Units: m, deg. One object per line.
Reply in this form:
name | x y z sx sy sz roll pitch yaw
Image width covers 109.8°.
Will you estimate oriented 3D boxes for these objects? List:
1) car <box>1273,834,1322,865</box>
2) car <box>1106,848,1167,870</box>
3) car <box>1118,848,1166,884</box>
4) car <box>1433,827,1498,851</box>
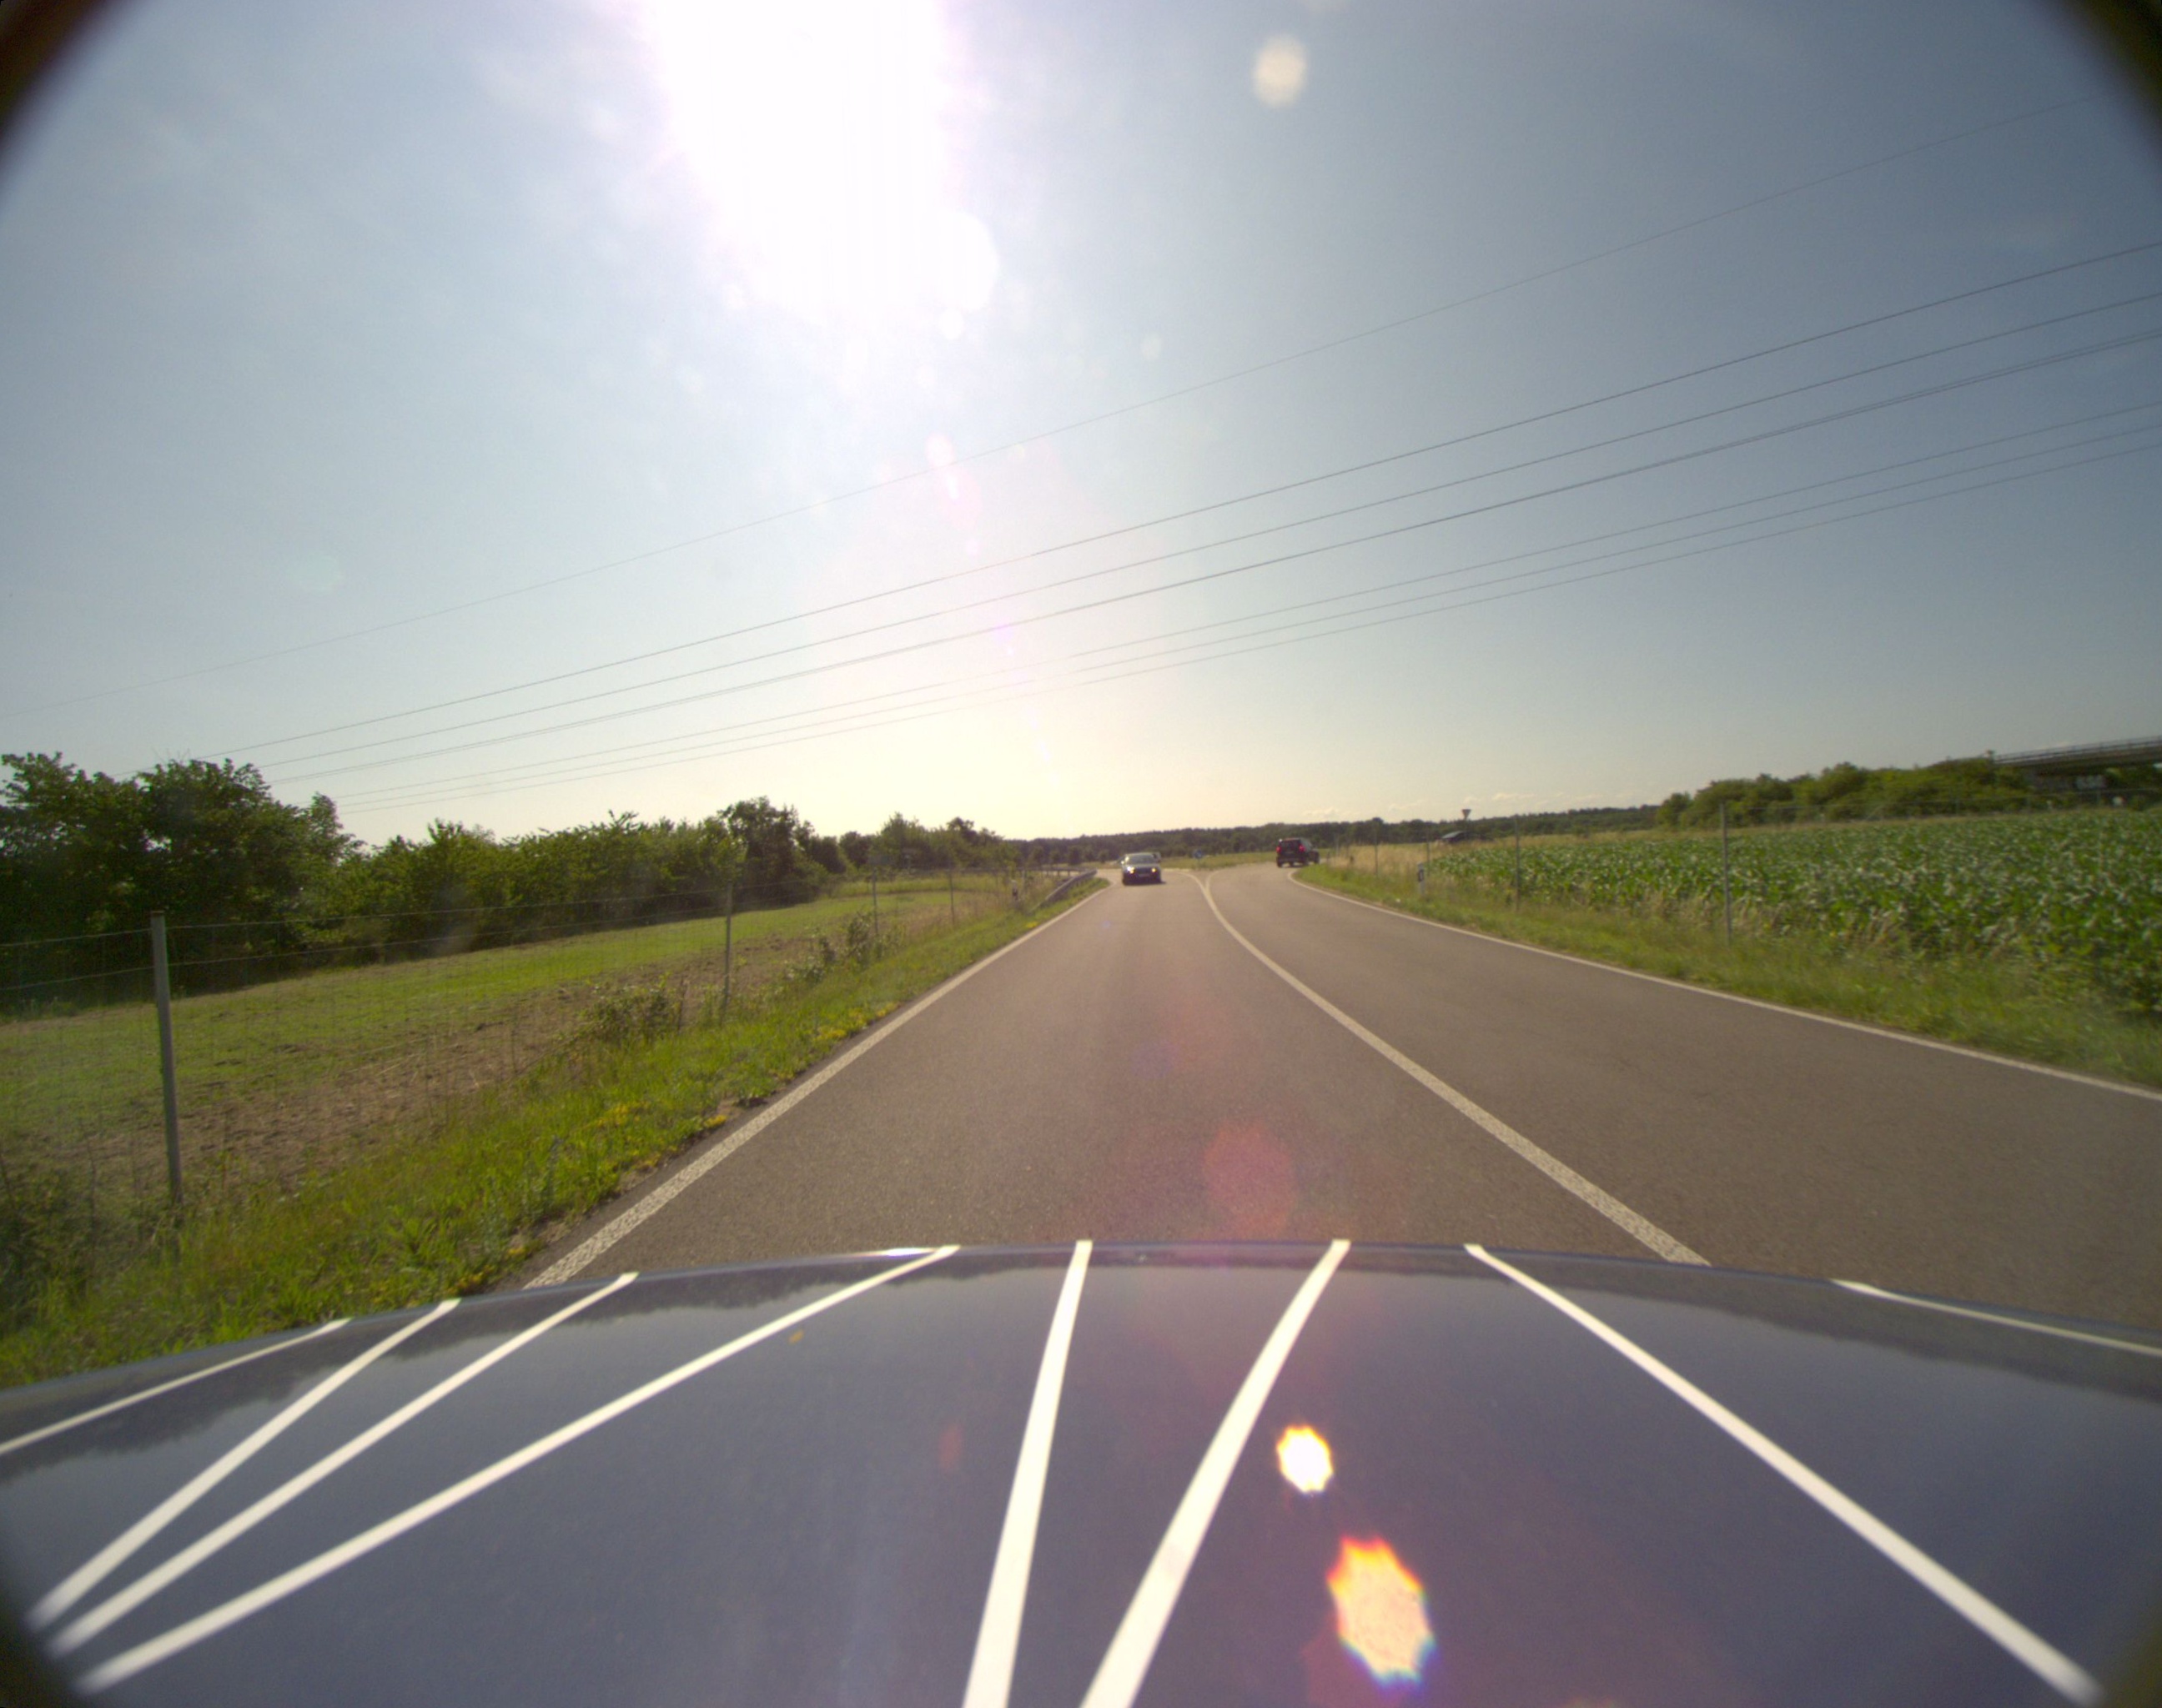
car | 13.038 -0.287 45.620 1.985 1.697 4.268 -1 2 27
car | 5.256 0.431 71.748 5.345 1.630 2.104 -4 0 12
car | 2.819 0.515 36.052 1.886 1.448 4.074 -4 1 0
car | 28.963 -1.145 57.210 4.597 1.448 1.777 -4 0 -25
